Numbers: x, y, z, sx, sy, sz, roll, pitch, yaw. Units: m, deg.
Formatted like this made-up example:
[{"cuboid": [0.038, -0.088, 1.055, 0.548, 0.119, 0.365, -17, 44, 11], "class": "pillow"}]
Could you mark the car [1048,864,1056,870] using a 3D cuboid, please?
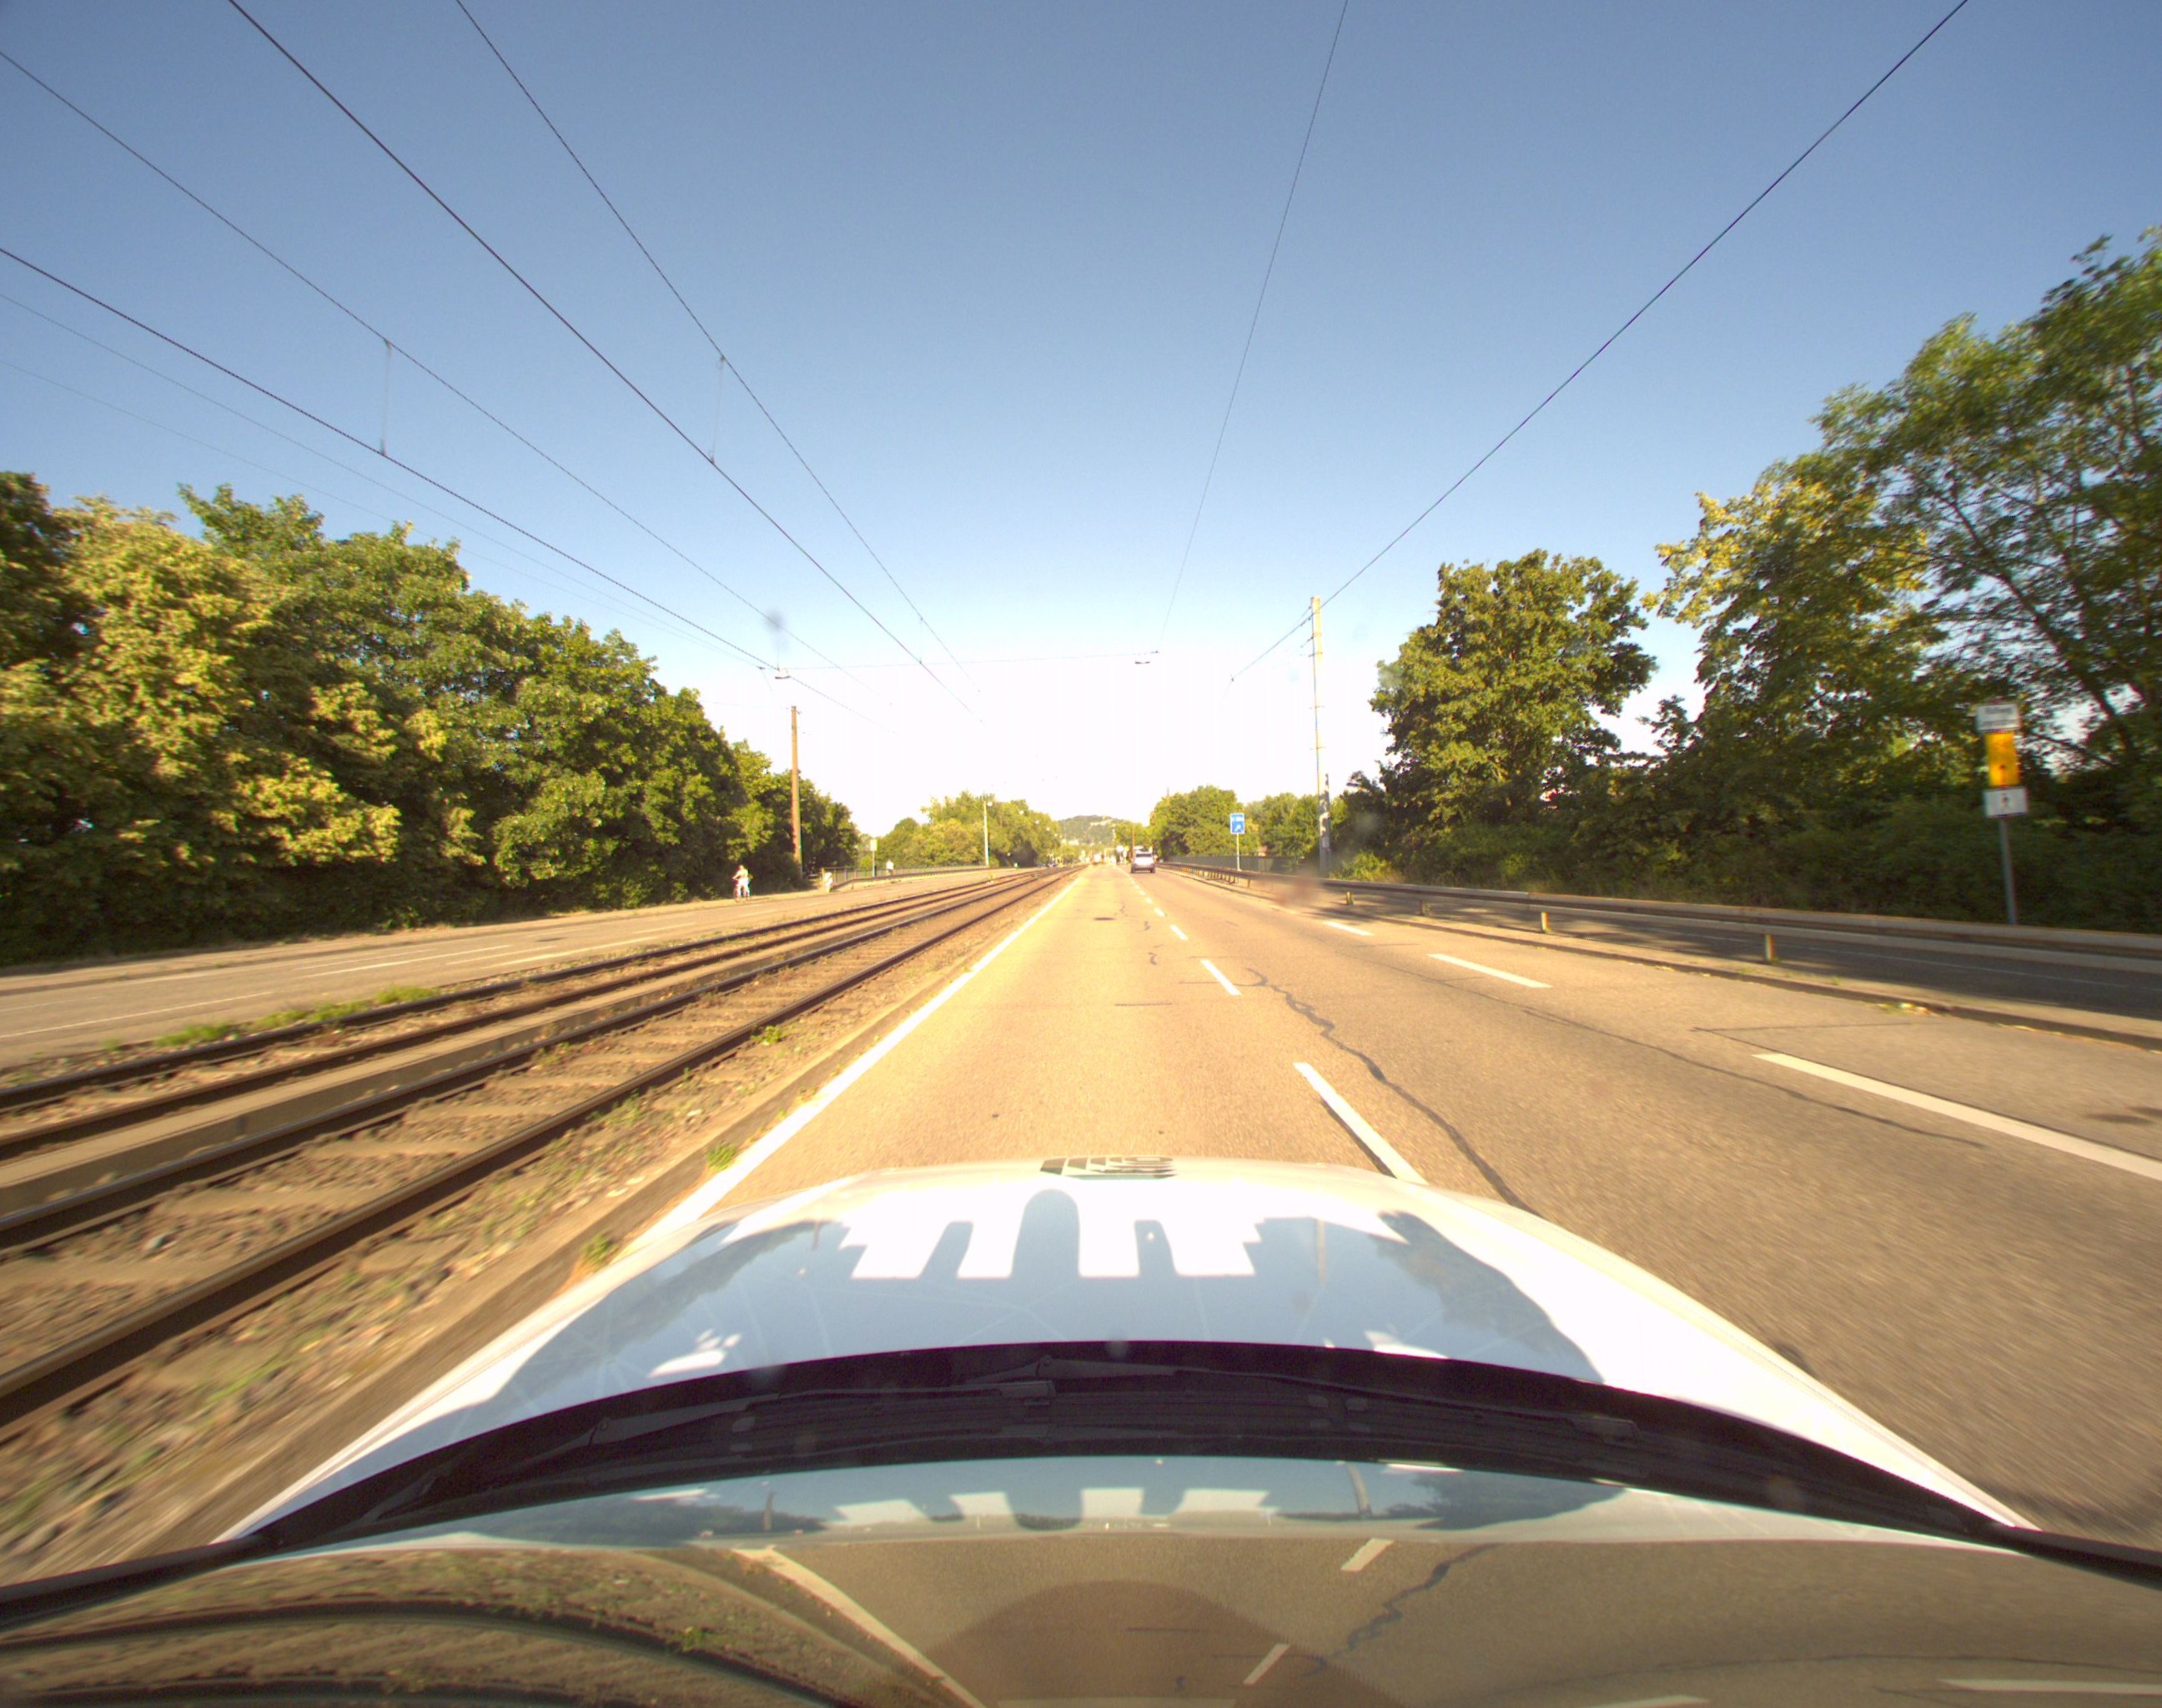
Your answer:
[{"cuboid": [-8.567, 3.821, 239.241, 1.986, 1.618, 4.001, 0, -1, 1], "class": "car"}]

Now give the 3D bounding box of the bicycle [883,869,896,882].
[{"cuboid": [-15.608, 1.716, 66.269, 0.538, 1.043, 1.925, 0, -1, 2], "class": "bicycle"}]

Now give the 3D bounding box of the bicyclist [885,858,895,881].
[{"cuboid": [-15.596, 1.279, 66.461, 0.538, 1.862, 0.875, 0, -1, 1], "class": "bicyclist"}]

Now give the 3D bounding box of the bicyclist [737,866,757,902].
[{"cuboid": [-15.906, 1.396, 38.800, 0.505, 1.687, 0.920, 0, -1, 5], "class": "bicyclist"}]

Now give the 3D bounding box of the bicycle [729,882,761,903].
[{"cuboid": [-15.922, 1.817, 38.626, 0.505, 0.892, 2.030, 0, -1, 5], "class": "bicycle"}]

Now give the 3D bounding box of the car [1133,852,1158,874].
[{"cuboid": [5.205, 0.745, 65.691, 1.880, 1.693, 4.261, -1, -1, 4], "class": "car"}]
